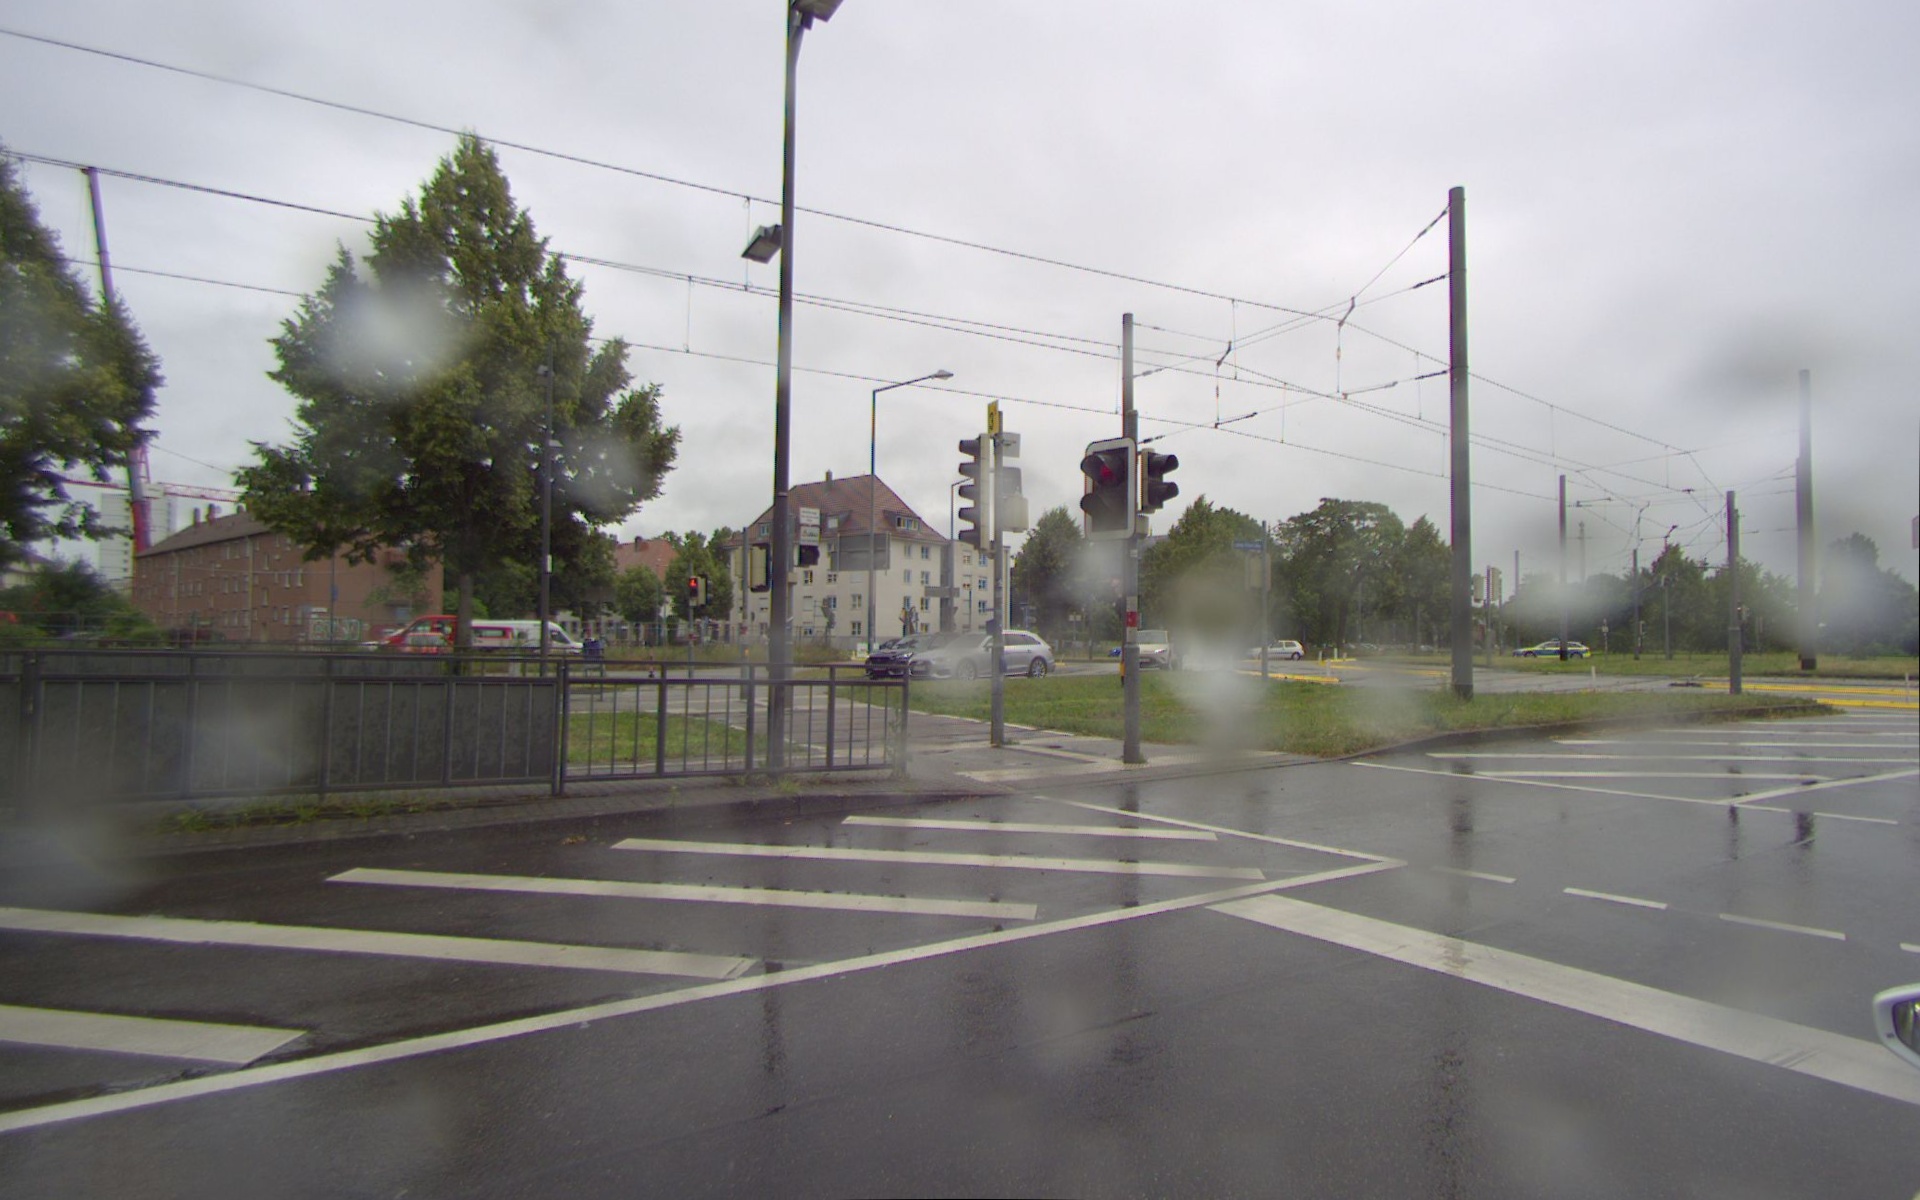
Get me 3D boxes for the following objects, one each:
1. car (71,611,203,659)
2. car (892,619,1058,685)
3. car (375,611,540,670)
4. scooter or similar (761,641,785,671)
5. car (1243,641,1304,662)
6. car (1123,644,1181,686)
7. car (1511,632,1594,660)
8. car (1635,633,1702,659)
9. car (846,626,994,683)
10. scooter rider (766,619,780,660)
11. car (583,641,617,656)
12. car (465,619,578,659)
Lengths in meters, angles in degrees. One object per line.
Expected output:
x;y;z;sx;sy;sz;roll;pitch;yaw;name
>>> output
-45.415;1.973;55.645;5.441;2.485;1.980;3;0;-36;car
0.468;1.368;27.384;4.371;1.649;1.975;2;-2;-42;car
-22.314;1.802;44.887;6.389;2.502;1.616;1;-2;-20;car
-7.925;2.367;42.573;0.438;1.276;1.592;-1;-2;11;scooter or similar
22.348;3.663;71.677;3.909;1.473;1.623;0;-2;-1;car
7.390;2.433;38.373;1.591;1.473;4.114;0;-2;19;car
41.847;3.231;71.013;4.680;1.875;2.001;0;-2;17;car
54.968;3.545;77.951;3.921;1.840;1.681;2;0;-1;car
-1.180;1.651;31.220;4.371;1.649;1.975;2;-2;-42;car
-7.936;1.671;42.623;0.425;1.731;0.533;-1;-3;11;scooter rider
-38.525;5.162;107.439;4.559;1.473;1.614;-1;-2;44;car
-25.936;2.334;59.620;6.004;2.308;1.617;1;-2;-18;car
